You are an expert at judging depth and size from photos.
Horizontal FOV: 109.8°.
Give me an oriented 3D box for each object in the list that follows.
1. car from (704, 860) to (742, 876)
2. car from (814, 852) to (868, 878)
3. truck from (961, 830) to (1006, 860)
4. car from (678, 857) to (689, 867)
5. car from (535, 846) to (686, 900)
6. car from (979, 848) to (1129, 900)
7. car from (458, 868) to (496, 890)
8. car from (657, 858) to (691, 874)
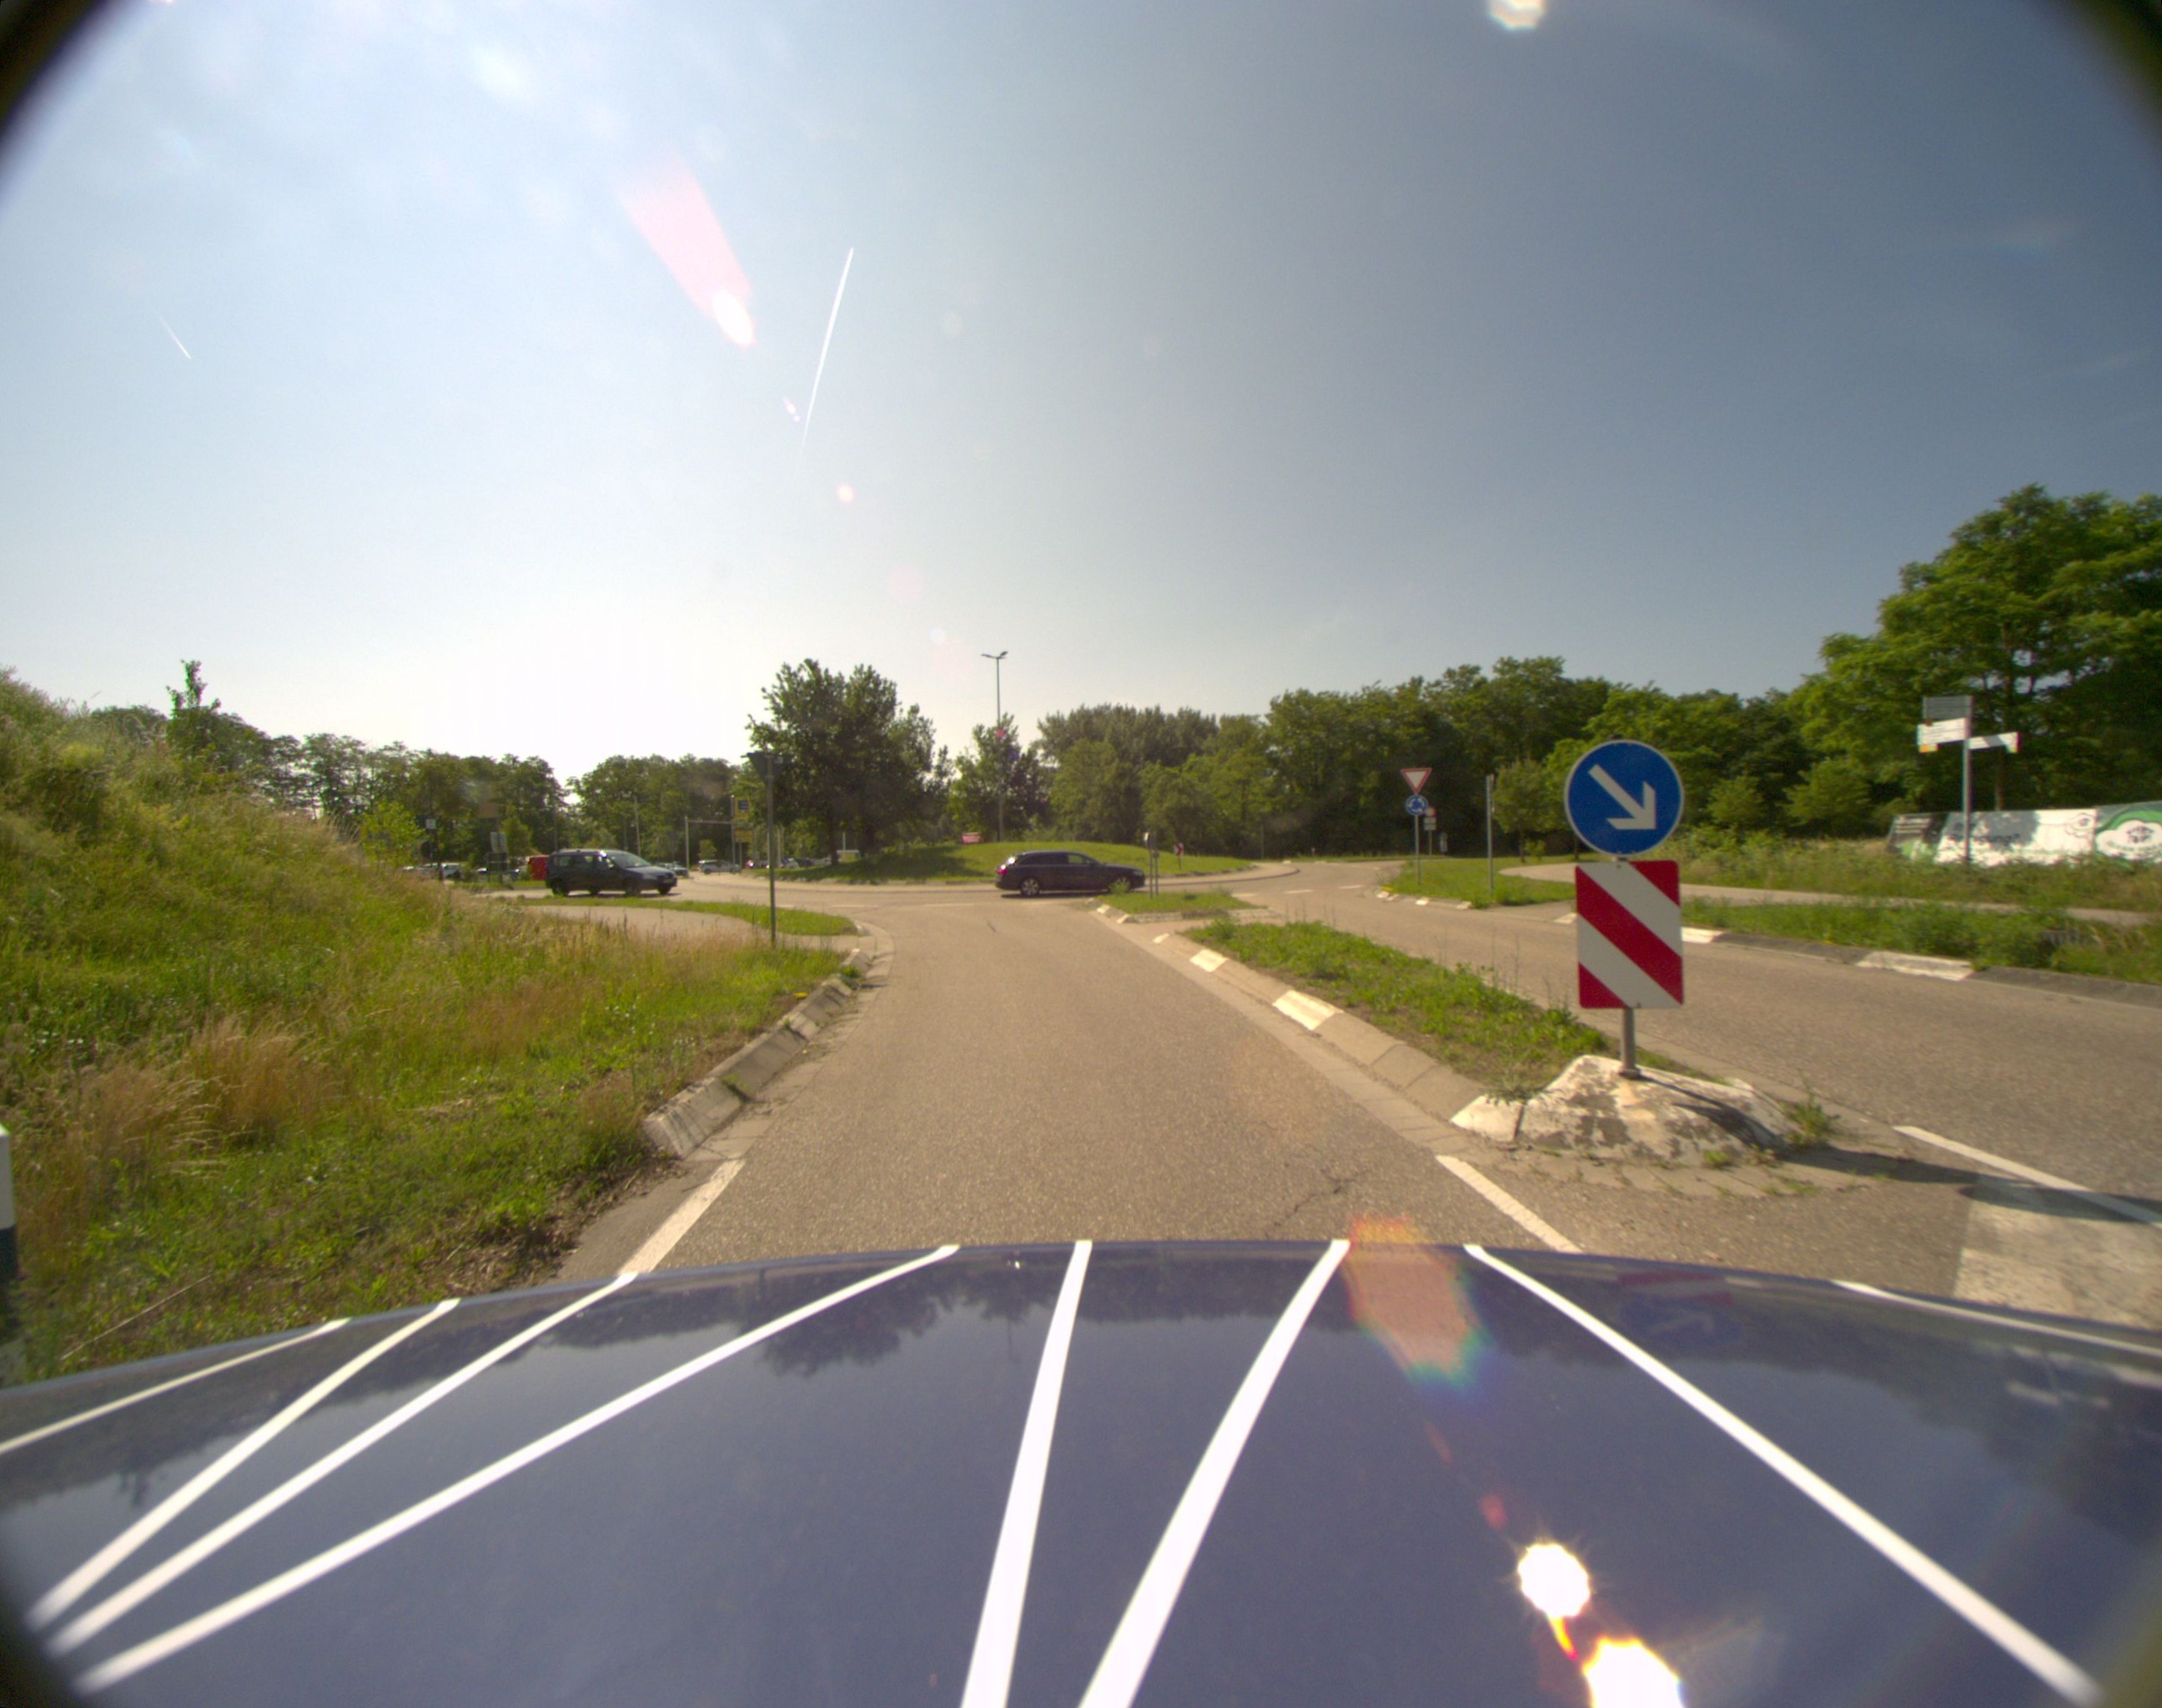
[{"bbox_3d":[-43.385,1.636,92.073,4.006,1.784,1.606,-1,1,-31],"label":"car"},{"bbox_3d":[-24.013,1.060,76.183,4.847,2.517,1.854,-1,1,-8],"label":"car"},{"bbox_3d":[-9.954,-0.925,78.573,2.478,2.815,9.060,-1,1,7],"label":"truck"},{"bbox_3d":[-66.164,1.385,126.355,1.517,1.618,3.668,-1,1,-29],"label":"car"},{"bbox_3d":[-16.611,0.654,26.922,4.345,1.647,1.708,-2,4,9],"label":"car"},{"bbox_3d":[-0.918,0.597,24.609,4.678,1.481,1.813,-1,2,-7],"label":"car"},{"bbox_3d":[-38.689,1.565,48.721,1.455,1.280,2.824,-1,1,-29],"label":"car"},{"bbox_3d":[-42.835,1.281,79.892,4.197,1.643,1.666,-1,1,40],"label":"car"}]
